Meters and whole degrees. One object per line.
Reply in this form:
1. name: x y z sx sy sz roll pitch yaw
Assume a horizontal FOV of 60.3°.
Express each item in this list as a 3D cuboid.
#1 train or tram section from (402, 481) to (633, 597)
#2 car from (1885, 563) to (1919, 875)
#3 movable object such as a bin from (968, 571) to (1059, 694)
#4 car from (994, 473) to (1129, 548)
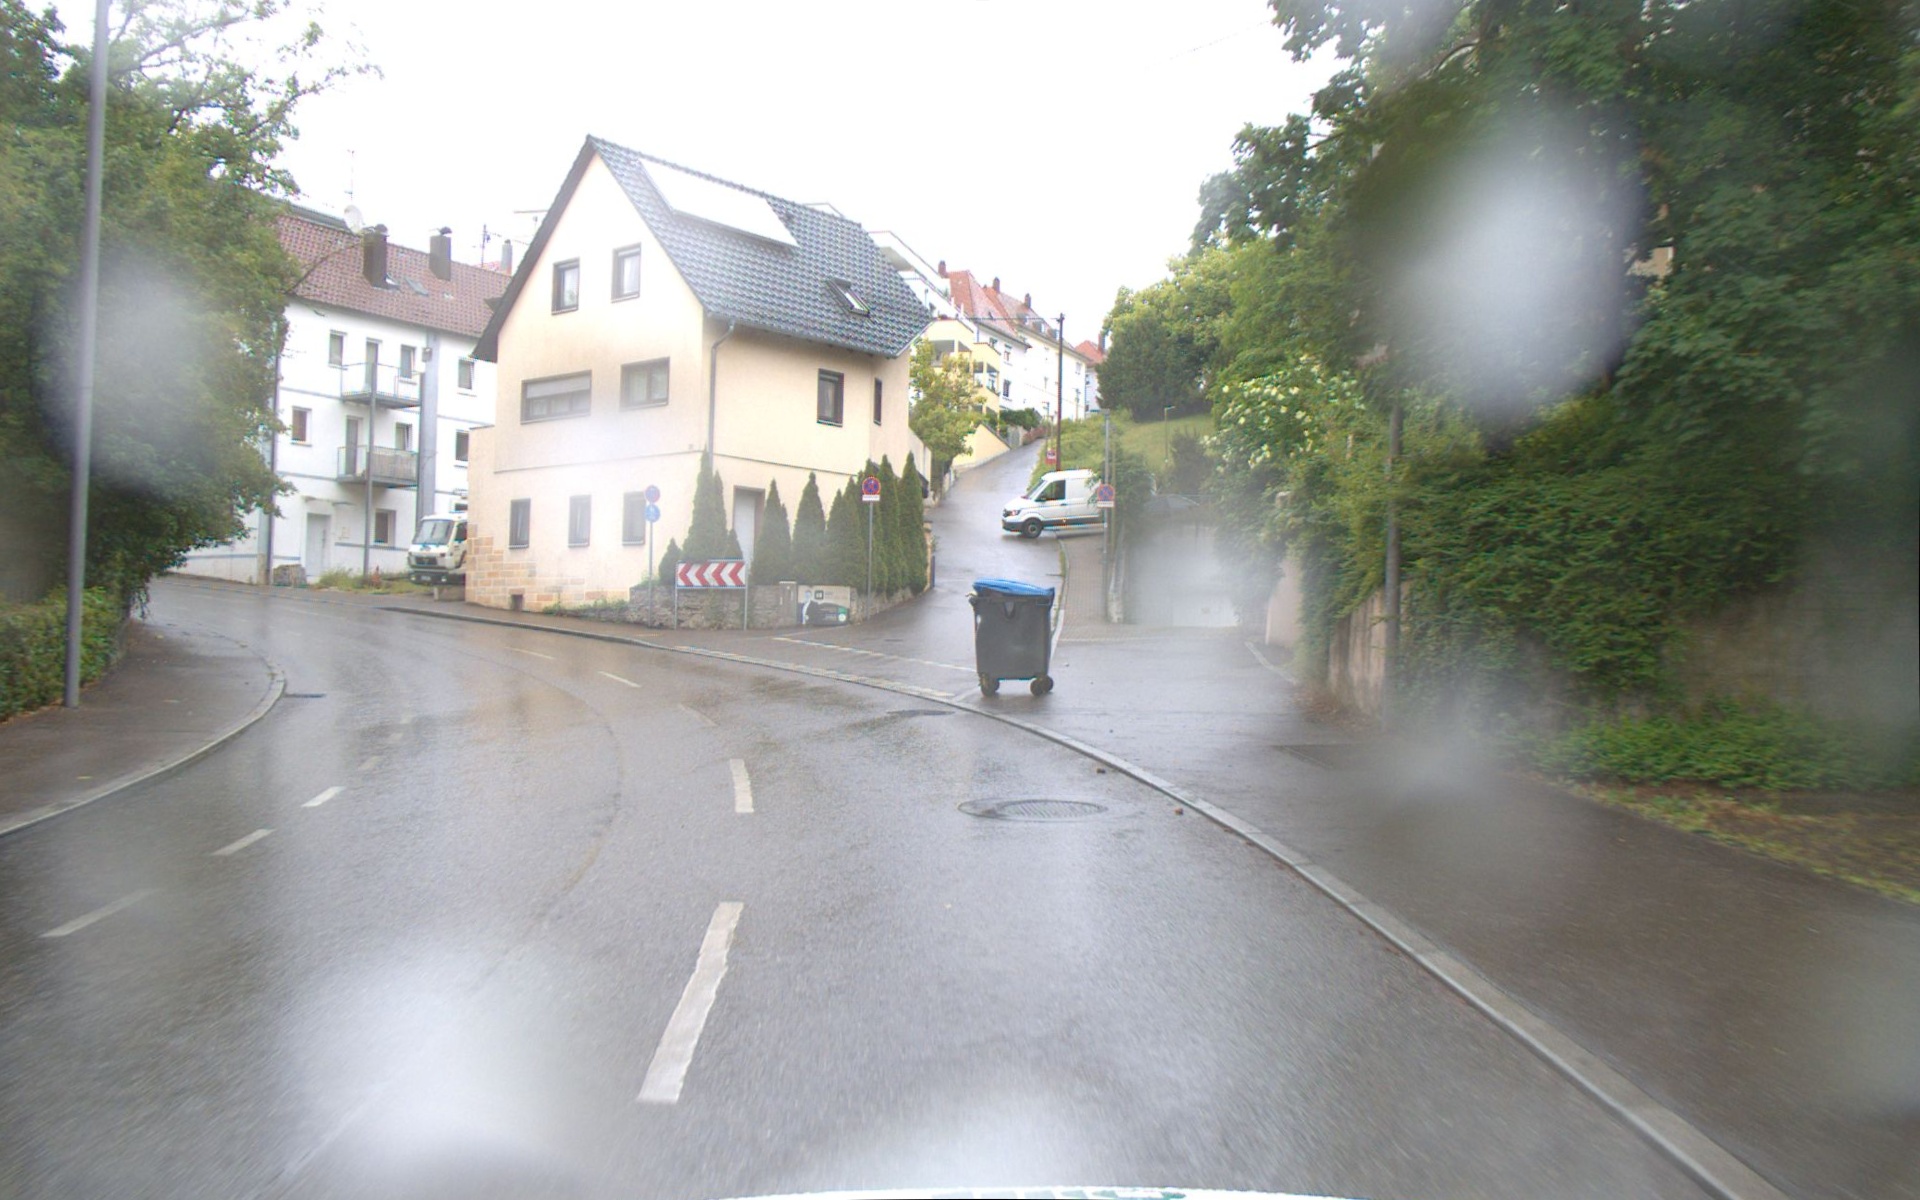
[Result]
1. train or tram section: -13.265 -1.766 50.104 2.319 3.259 6.843 1 1 36
2. car: 6.614 0.522 7.225 4.058 1.502 1.905 -2 0 1
3. movable object such as a bin: 0.699 0.392 20.857 1.059 1.467 1.458 1 0 4
4. car: 3.778 -3.342 61.998 4.844 2.614 1.903 -2 0 -3
